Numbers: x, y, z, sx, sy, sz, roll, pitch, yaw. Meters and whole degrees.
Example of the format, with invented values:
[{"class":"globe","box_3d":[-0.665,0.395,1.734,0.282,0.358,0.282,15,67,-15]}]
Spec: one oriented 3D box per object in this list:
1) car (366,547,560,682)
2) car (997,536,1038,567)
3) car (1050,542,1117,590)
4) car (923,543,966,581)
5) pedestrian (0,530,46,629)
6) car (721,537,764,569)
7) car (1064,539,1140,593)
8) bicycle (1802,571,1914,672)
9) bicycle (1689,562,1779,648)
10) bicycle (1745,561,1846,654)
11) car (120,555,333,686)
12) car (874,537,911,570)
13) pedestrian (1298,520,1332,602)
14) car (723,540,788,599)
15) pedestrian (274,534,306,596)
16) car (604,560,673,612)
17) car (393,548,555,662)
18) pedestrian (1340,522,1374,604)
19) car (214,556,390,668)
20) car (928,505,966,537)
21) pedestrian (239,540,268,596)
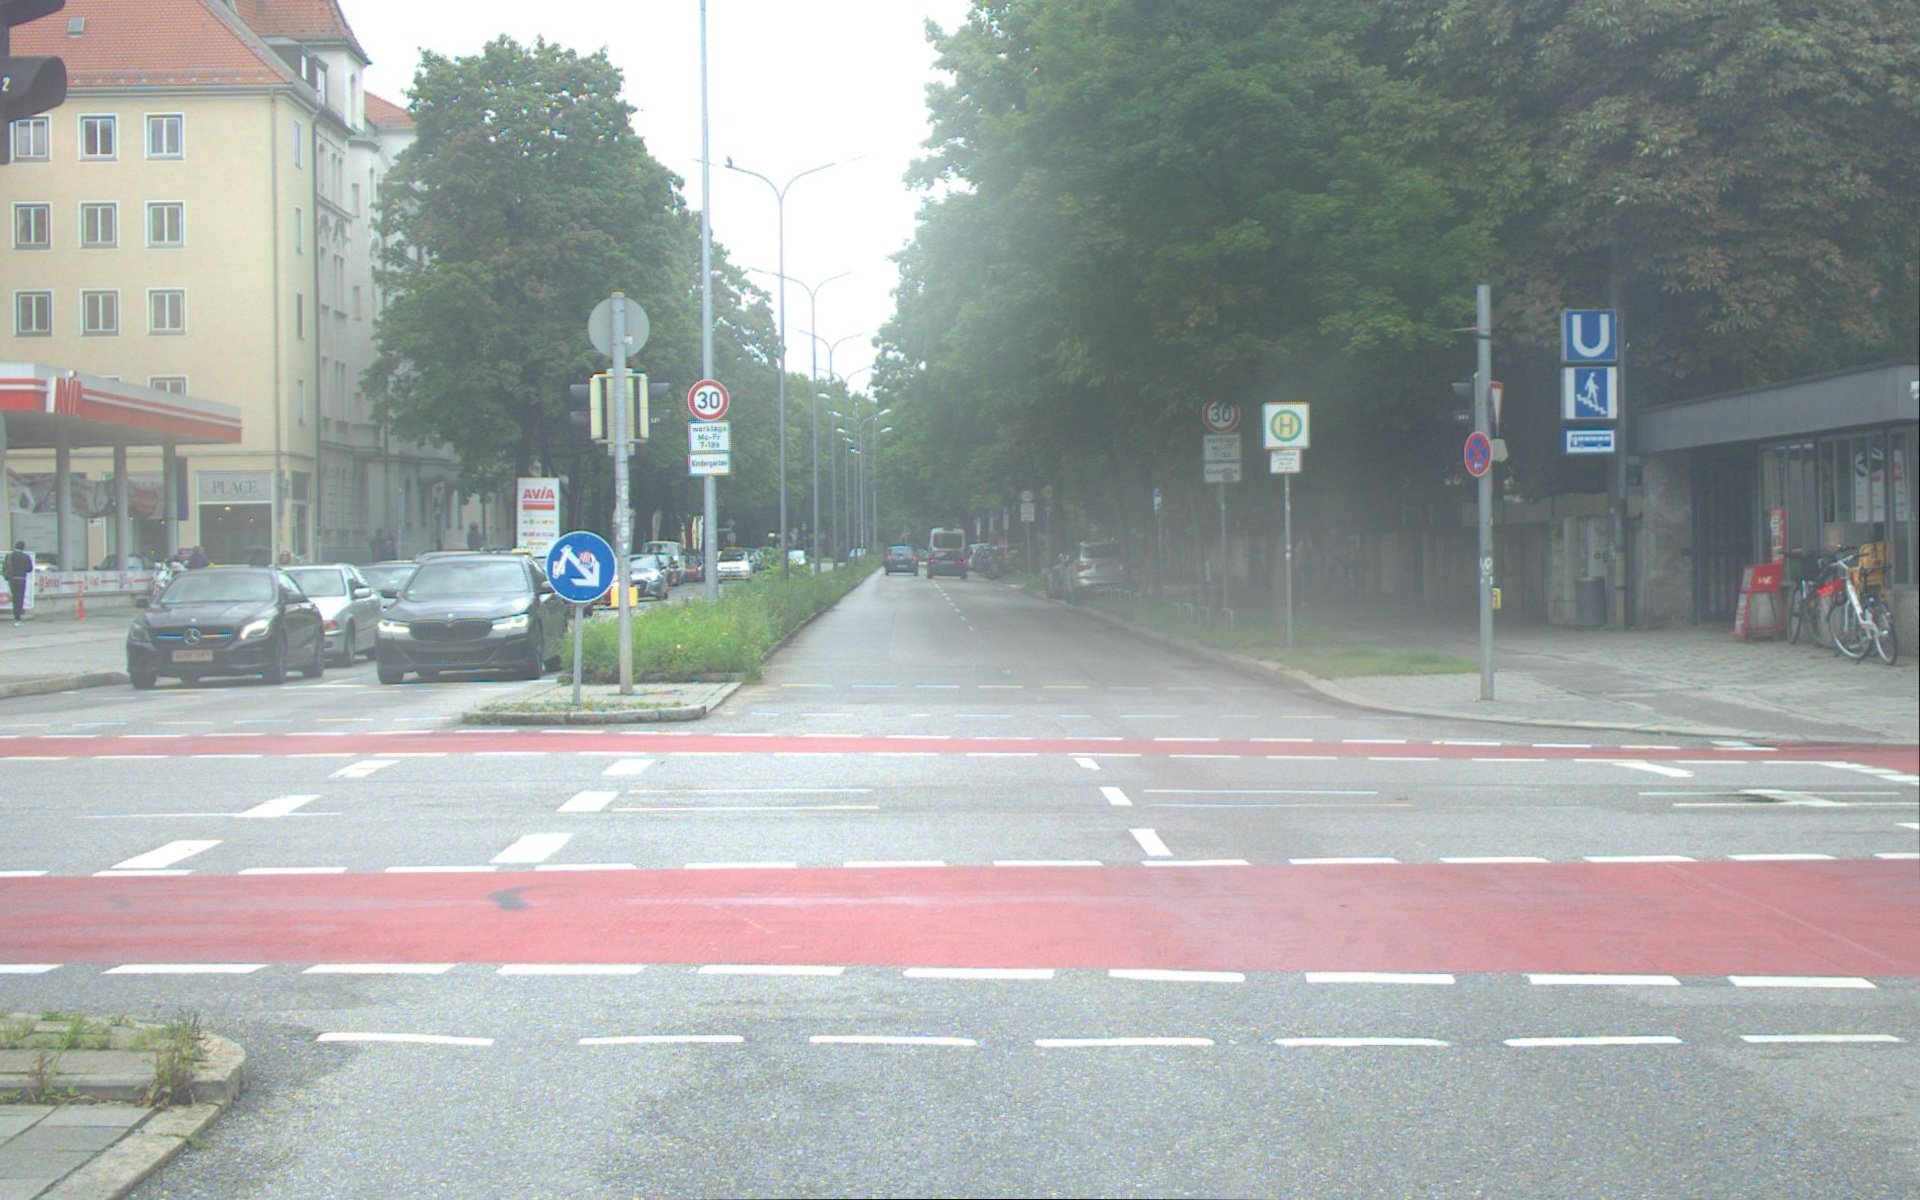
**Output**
[{"class":"car","box_3d":[-5.808,0.132,40.557,1.759,1.488,4.000,-1,1,-1]},{"class":"car","box_3d":[2.668,-2.249,159.356,1.743,1.422,3.899,-1,1,-1]},{"class":"car","box_3d":[3.565,-1.000,99.860,1.743,1.358,3.807,-1,1,-1]},{"class":"car","box_3d":[-0.728,-1.772,158.203,1.922,1.678,4.000,-1,1,-1]},{"class":"pedestrian","box_3d":[-19.239,-0.424,70.492,0.730,2.007,0.834,1,0,-1]},{"class":"car","box_3d":[-9.954,-2.171,157.609,1.759,1.455,4.000,-1,1,-1]},{"class":"car","box_3d":[3.690,-0.901,89.611,1.743,1.358,3.807,-1,1,-1]},{"class":"bicycle","box_3d":[9.404,0.209,36.057,0.556,1.011,2.016,-1,1,-3]},{"class":"bicycle","box_3d":[9.496,0.045,42.229,0.556,1.011,2.016,-1,1,-3]},{"class":"bicycle","box_3d":[9.415,0.071,38.789,0.556,1.011,2.016,-1,1,-3]},{"class":"car","box_3d":[-8.772,0.210,41.391,1.759,1.455,4.000,-1,1,-1]},{"class":"car","box_3d":[-3.442,-2.381,175.604,1.857,1.678,4.000,-1,1,-1]},{"class":"pedestrian","box_3d":[7.364,-0.815,71.333,0.678,1.677,0.682,0,1,5]},{"class":"car","box_3d":[-5.055,-0.769,85.270,1.468,1.394,3.700,-1,1,-1]},{"class":"pedestrian","box_3d":[-17.769,-0.928,91.162,0.696,1.632,0.738,-1,1,-1]},{"class":"car","box_3d":[-9.724,-0.431,104.188,1.759,1.488,4.000,-1,1,-1]},{"class":"car","box_3d":[-6.755,0.038,48.130,1.759,1.488,4.000,-1,1,-1]},{"class":"pedestrian","box_3d":[8.245,-0.774,71.399,0.678,1.677,0.682,0,1,5]},{"class":"car","box_3d":[-9.195,0.138,48.300,1.759,1.455,4.000,-1,1,-1]},{"class":"car","box_3d":[-0.729,-4.391,190.744,1.993,1.750,4.000,-1,1,-1]},{"class":"pedestrian","box_3d":[-20.903,-0.954,101.715,0.696,1.632,0.738,-1,1,-1]}]
